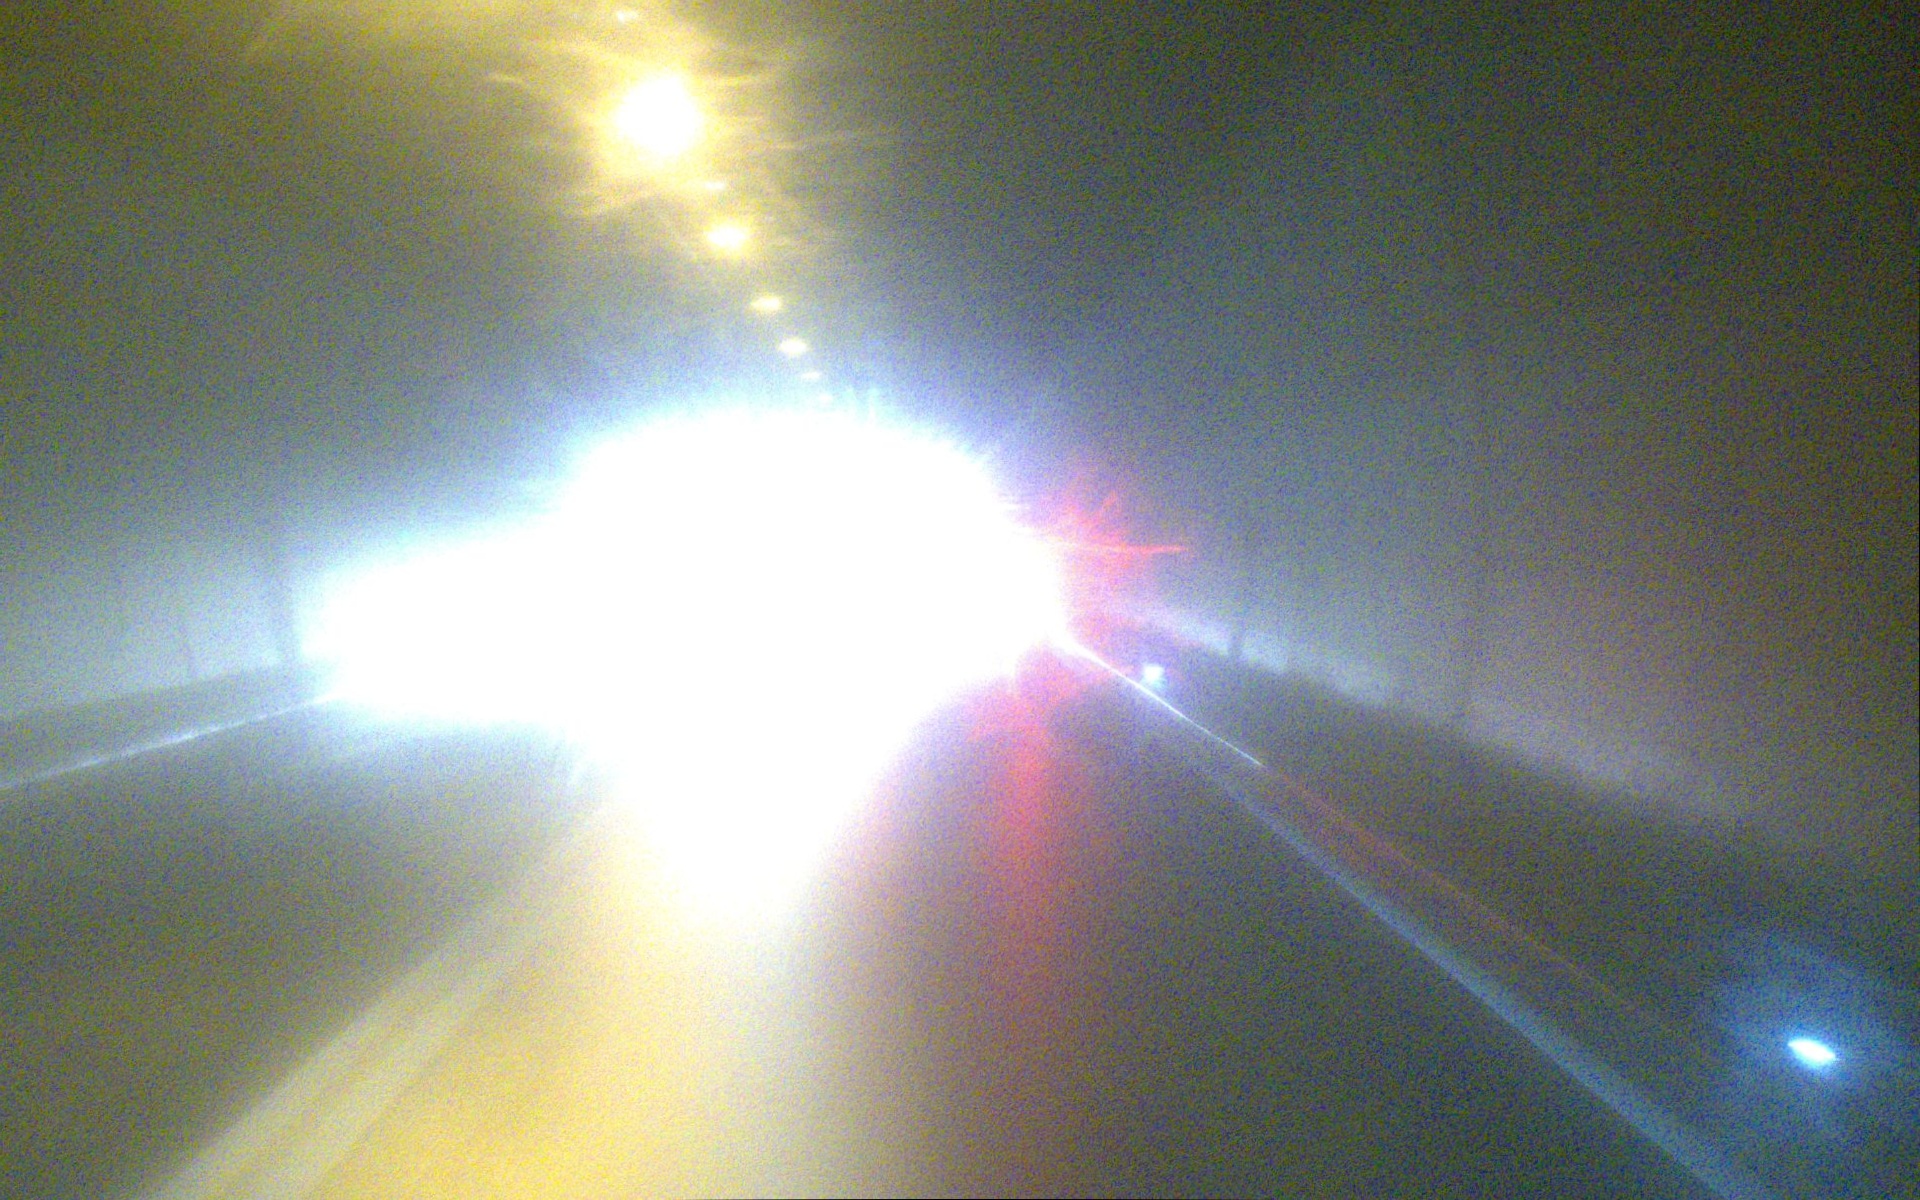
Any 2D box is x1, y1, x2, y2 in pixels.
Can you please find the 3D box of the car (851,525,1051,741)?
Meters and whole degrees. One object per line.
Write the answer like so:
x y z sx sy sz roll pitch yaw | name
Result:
-0.079 0.228 30.552 1.635 1.752 4.146 -1 1 0 | car

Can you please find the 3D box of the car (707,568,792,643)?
-4.591 0.105 75.472 1.635 1.529 3.646 -1 1 0 | car
